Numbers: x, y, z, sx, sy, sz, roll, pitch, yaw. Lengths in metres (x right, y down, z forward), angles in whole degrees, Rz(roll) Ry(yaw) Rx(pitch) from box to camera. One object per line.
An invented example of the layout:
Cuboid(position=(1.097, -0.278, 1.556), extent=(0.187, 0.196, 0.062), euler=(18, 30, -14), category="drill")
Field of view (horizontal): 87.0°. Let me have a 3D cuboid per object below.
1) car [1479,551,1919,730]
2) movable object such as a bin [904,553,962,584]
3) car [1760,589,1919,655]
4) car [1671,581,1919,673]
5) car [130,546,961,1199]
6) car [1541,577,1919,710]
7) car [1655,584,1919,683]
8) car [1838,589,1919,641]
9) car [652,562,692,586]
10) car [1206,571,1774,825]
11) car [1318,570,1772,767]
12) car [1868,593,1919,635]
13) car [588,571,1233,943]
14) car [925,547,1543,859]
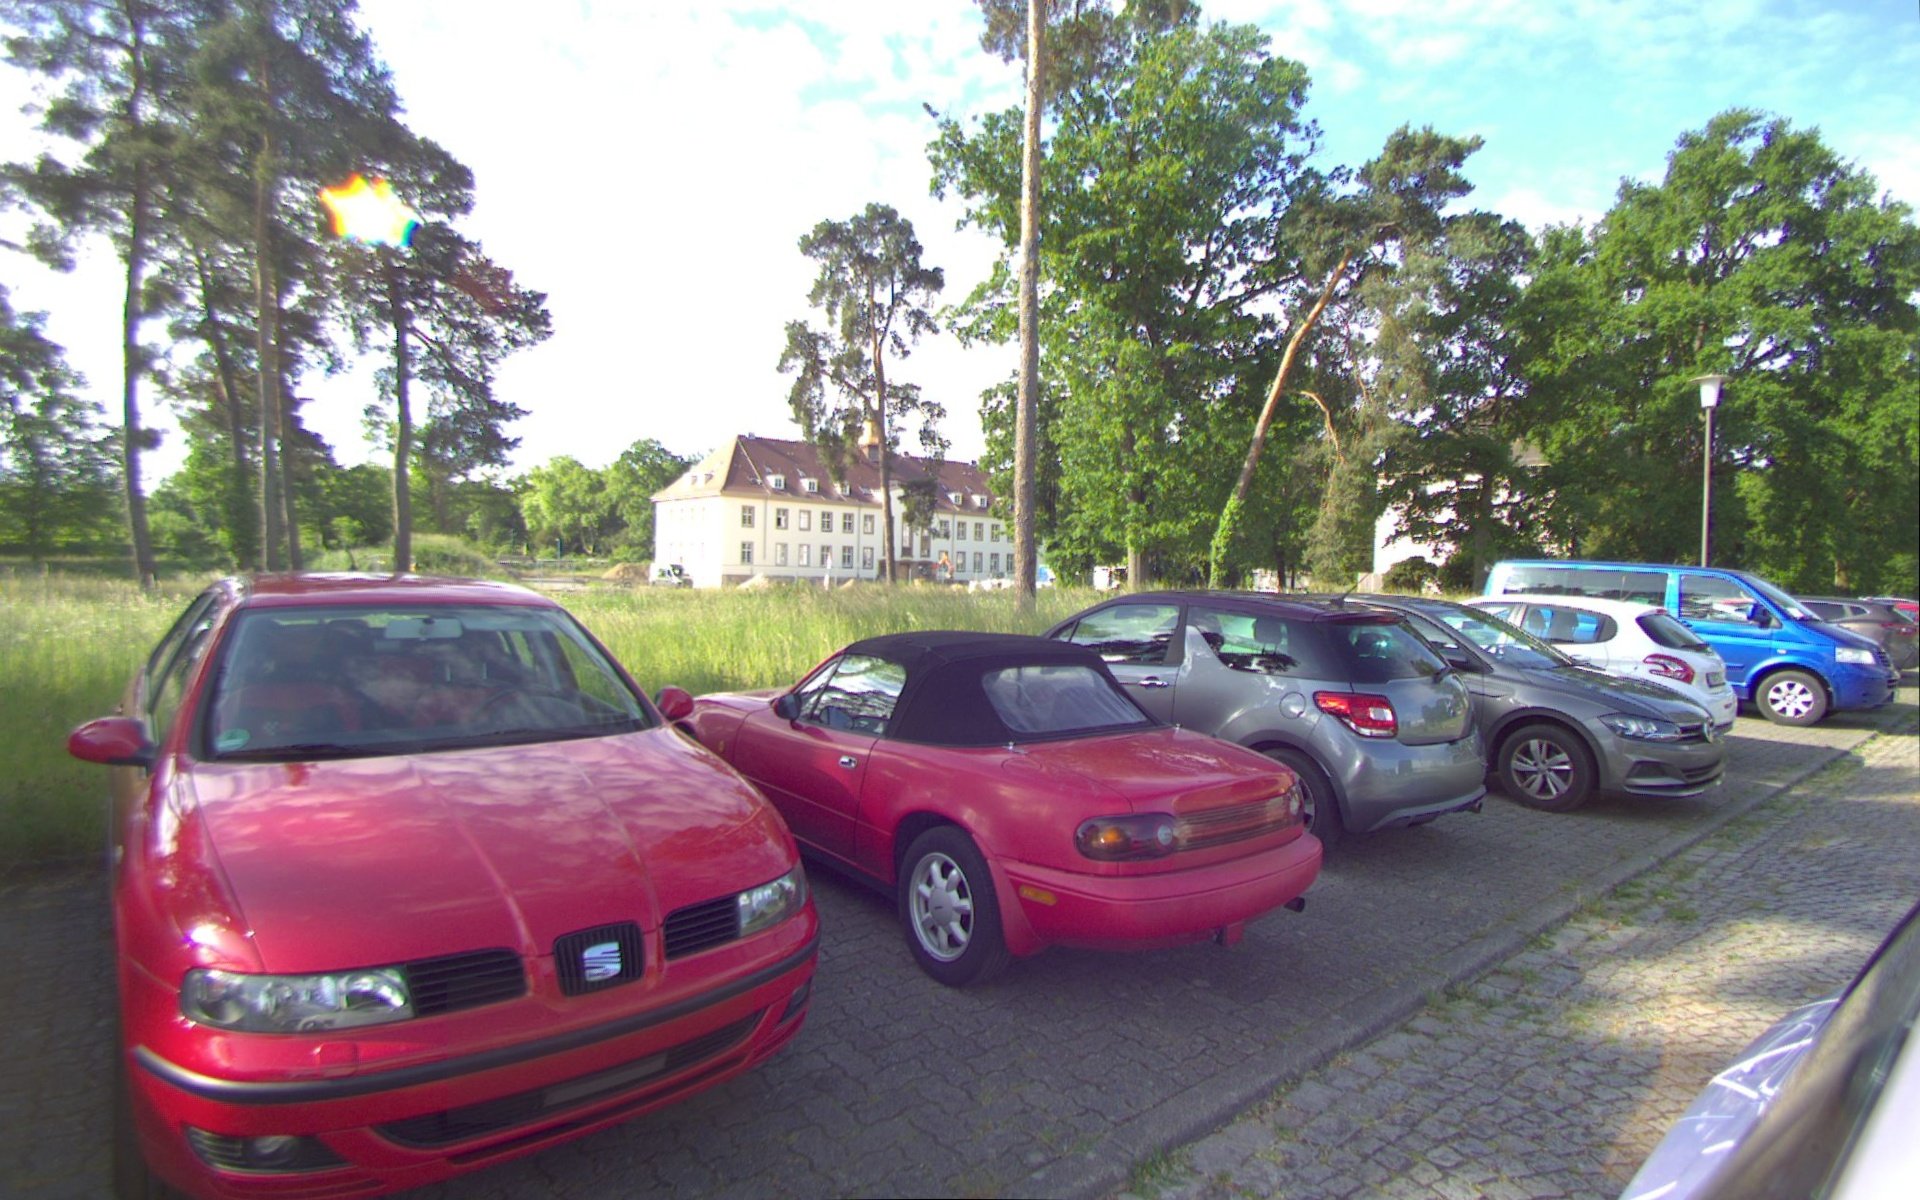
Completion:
Cuboid(position=(10.073, 0.375, 14.003), extent=(1.965, 1.959, 4.709), euler=(0, 3, -41), category="car")
Cuboid(position=(-3.021, -3.562, 115.316), extent=(6.337, 3.342, 2.862), euler=(-1, 0, 6), category="movable object such as a bin")
Cuboid(position=(23.987, 0.571, 26.820), extent=(1.821, 1.477, 4.095), euler=(1, 3, -42), category="car")
Cuboid(position=(18.210, 0.493, 21.949), extent=(1.902, 1.617, 4.232), euler=(-1, 4, -43), category="car")
Cuboid(position=(-1.955, 0.607, 3.685), extent=(1.607, 1.466, 4.138), euler=(1, 3, -40), category="car")
Cuboid(position=(11.882, 0.545, 15.844), extent=(1.905, 1.596, 4.407), euler=(0, 3, -41), category="car")
Cuboid(position=(16.439, 0.565, 19.925), extent=(1.902, 1.617, 4.231), euler=(-1, 3, -43), category="car")
Cuboid(position=(31.711, 0.532, 33.246), extent=(1.821, 1.576, 4.095), euler=(1, 3, -42), category="car")
Cuboid(position=(-28.413, -2.522, 99.873), extent=(1.967, 2.240, 4.422), euler=(-1, 0, -44), category="car")
Cuboid(position=(4.157, 0.587, 8.390), extent=(1.823, 1.466, 3.716), euler=(1, 3, -40), category="car")
Cuboid(position=(5.941, 0.547, 10.618), extent=(1.730, 1.553, 3.716), euler=(1, 3, -40), category="car")
Cuboid(position=(35.309, 0.580, 36.123), extent=(1.754, 1.440, 4.095), euler=(1, 3, -42), category="car")
Cuboid(position=(-0.561, 0.544, 5.701), extent=(1.715, 1.238, 3.716), euler=(1, 3, -40), category="car")
Cuboid(position=(1.627, 0.441, 6.969), extent=(1.784, 1.466, 3.716), euler=(1, 3, -40), category="car")
